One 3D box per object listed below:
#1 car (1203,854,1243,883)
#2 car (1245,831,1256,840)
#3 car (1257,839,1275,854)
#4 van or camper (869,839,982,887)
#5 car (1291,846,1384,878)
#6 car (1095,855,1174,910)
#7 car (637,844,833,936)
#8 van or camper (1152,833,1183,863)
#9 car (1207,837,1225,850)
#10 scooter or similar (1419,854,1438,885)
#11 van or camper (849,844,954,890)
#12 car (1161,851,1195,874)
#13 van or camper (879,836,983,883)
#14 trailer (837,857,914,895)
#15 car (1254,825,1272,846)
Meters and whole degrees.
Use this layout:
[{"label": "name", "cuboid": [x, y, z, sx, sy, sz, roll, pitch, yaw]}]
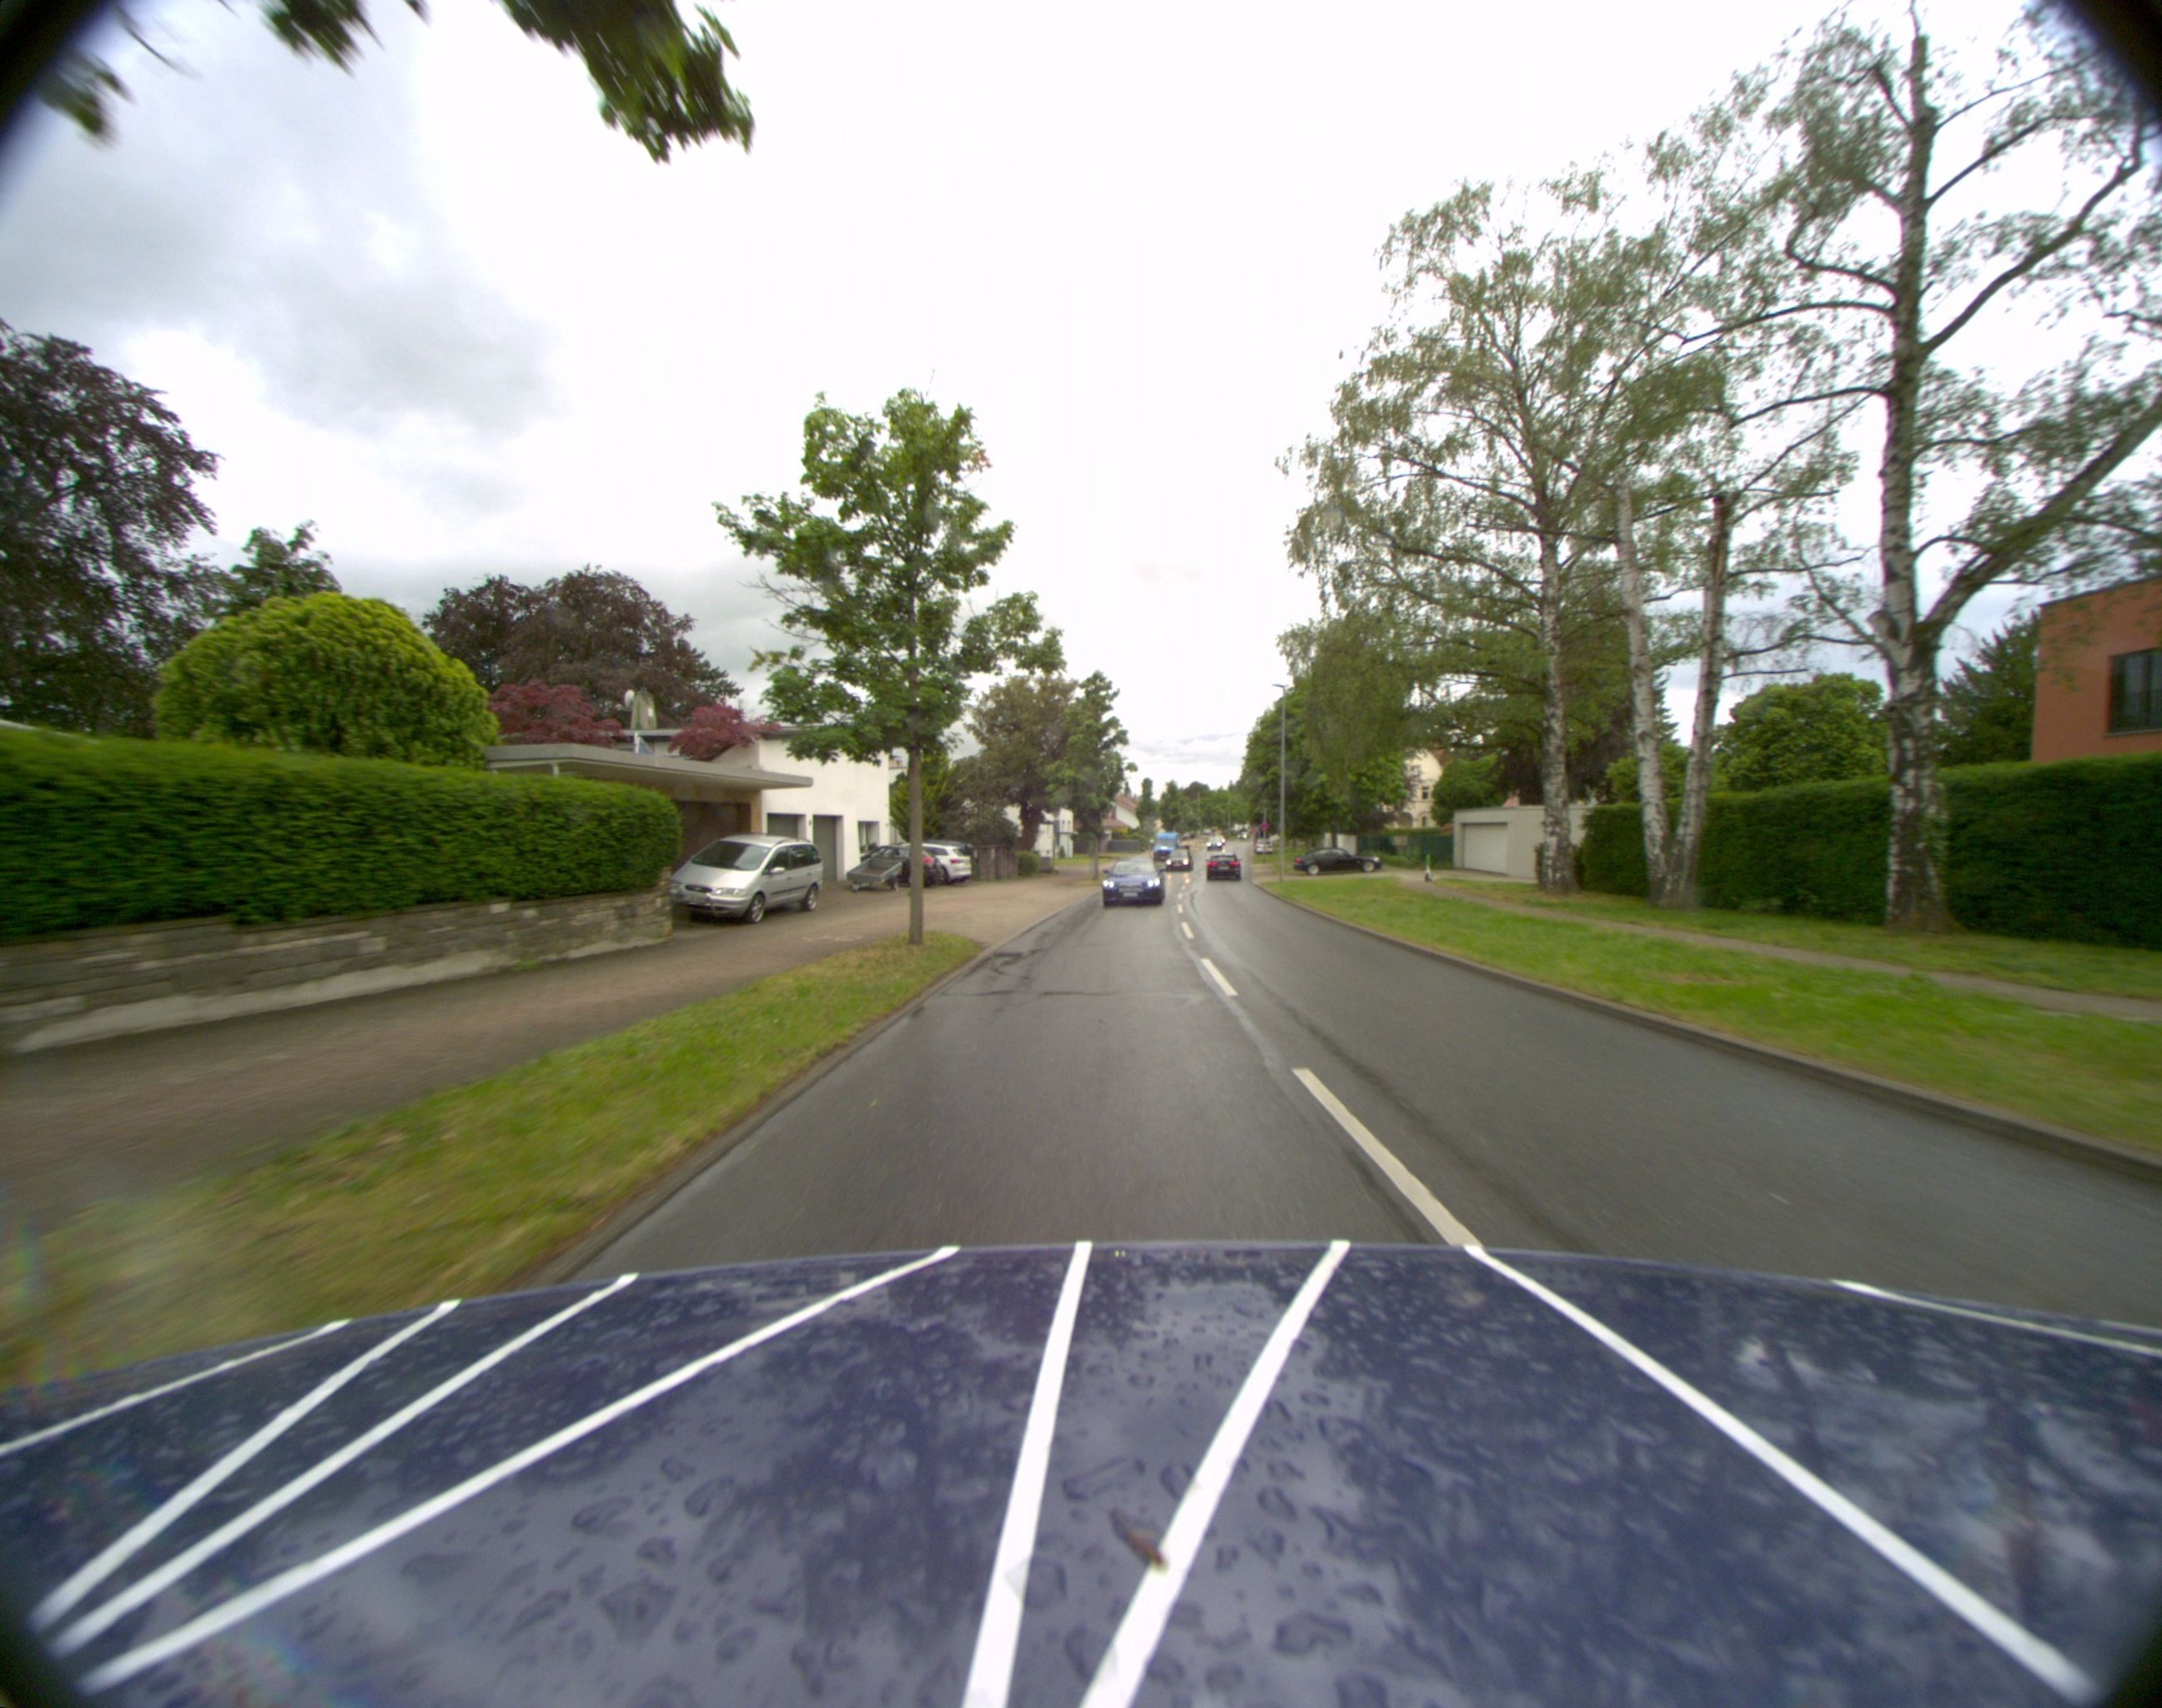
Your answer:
[{"label": "car", "cuboid": [7.691, 0.744, 41.457, 1.758, 1.432, 4.159, -2, 0, 6]}, {"label": "car", "cuboid": [31.538, -3.467, 141.331, 1.893, 1.531, 4.004, -2, 1, 16]}, {"label": "car", "cuboid": [19.734, -0.817, 81.124, 1.773, 1.597, 4.004, 0, 2, 15]}, {"label": "van or camper", "cuboid": [-6.394, 0.344, 31.503, 3.994, 1.668, 2.124, 4, 1, 8]}, {"label": "car", "cuboid": [13.477, 0.428, 40.148, 4.435, 1.409, 1.757, -3, 1, 12]}, {"label": "car", "cuboid": [1.831, 0.871, 24.751, 1.894, 1.531, 4.003, -2, 1, 13]}, {"label": "car", "cuboid": [-7.424, 0.672, 16.980, 1.798, 1.747, 4.944, 0, 0, 4]}, {"label": "van or camper", "cuboid": [8.061, -0.635, 70.476, 2.146, 2.594, 5.786, 2, 2, 13]}, {"label": "car", "cuboid": [17.464, -1.365, 98.210, 1.893, 1.531, 4.004, -2, 1, 14]}, {"label": "scooter or similar", "cuboid": [13.293, 0.580, 29.052, 0.424, 1.151, 1.493, -2, 0, 32]}, {"label": "van or camper", "cuboid": [-6.704, 0.456, 28.631, 3.409, 1.547, 1.769, 2, 1, 3]}, {"label": "car", "cuboid": [6.958, 0.577, 54.175, 1.845, 1.531, 4.004, -2, 1, 15]}, {"label": "van or camper", "cuboid": [-6.644, 0.216, 33.922, 4.020, 1.778, 1.949, 4, 2, 11]}, {"label": "trailer", "cuboid": [-6.819, 0.711, 25.558, 1.423, 0.916, 3.275, 8, 2, 3]}, {"label": "car", "cuboid": [24.900, -2.573, 103.771, 2.245, 2.823, 5.048, -1, 2, 15]}]
